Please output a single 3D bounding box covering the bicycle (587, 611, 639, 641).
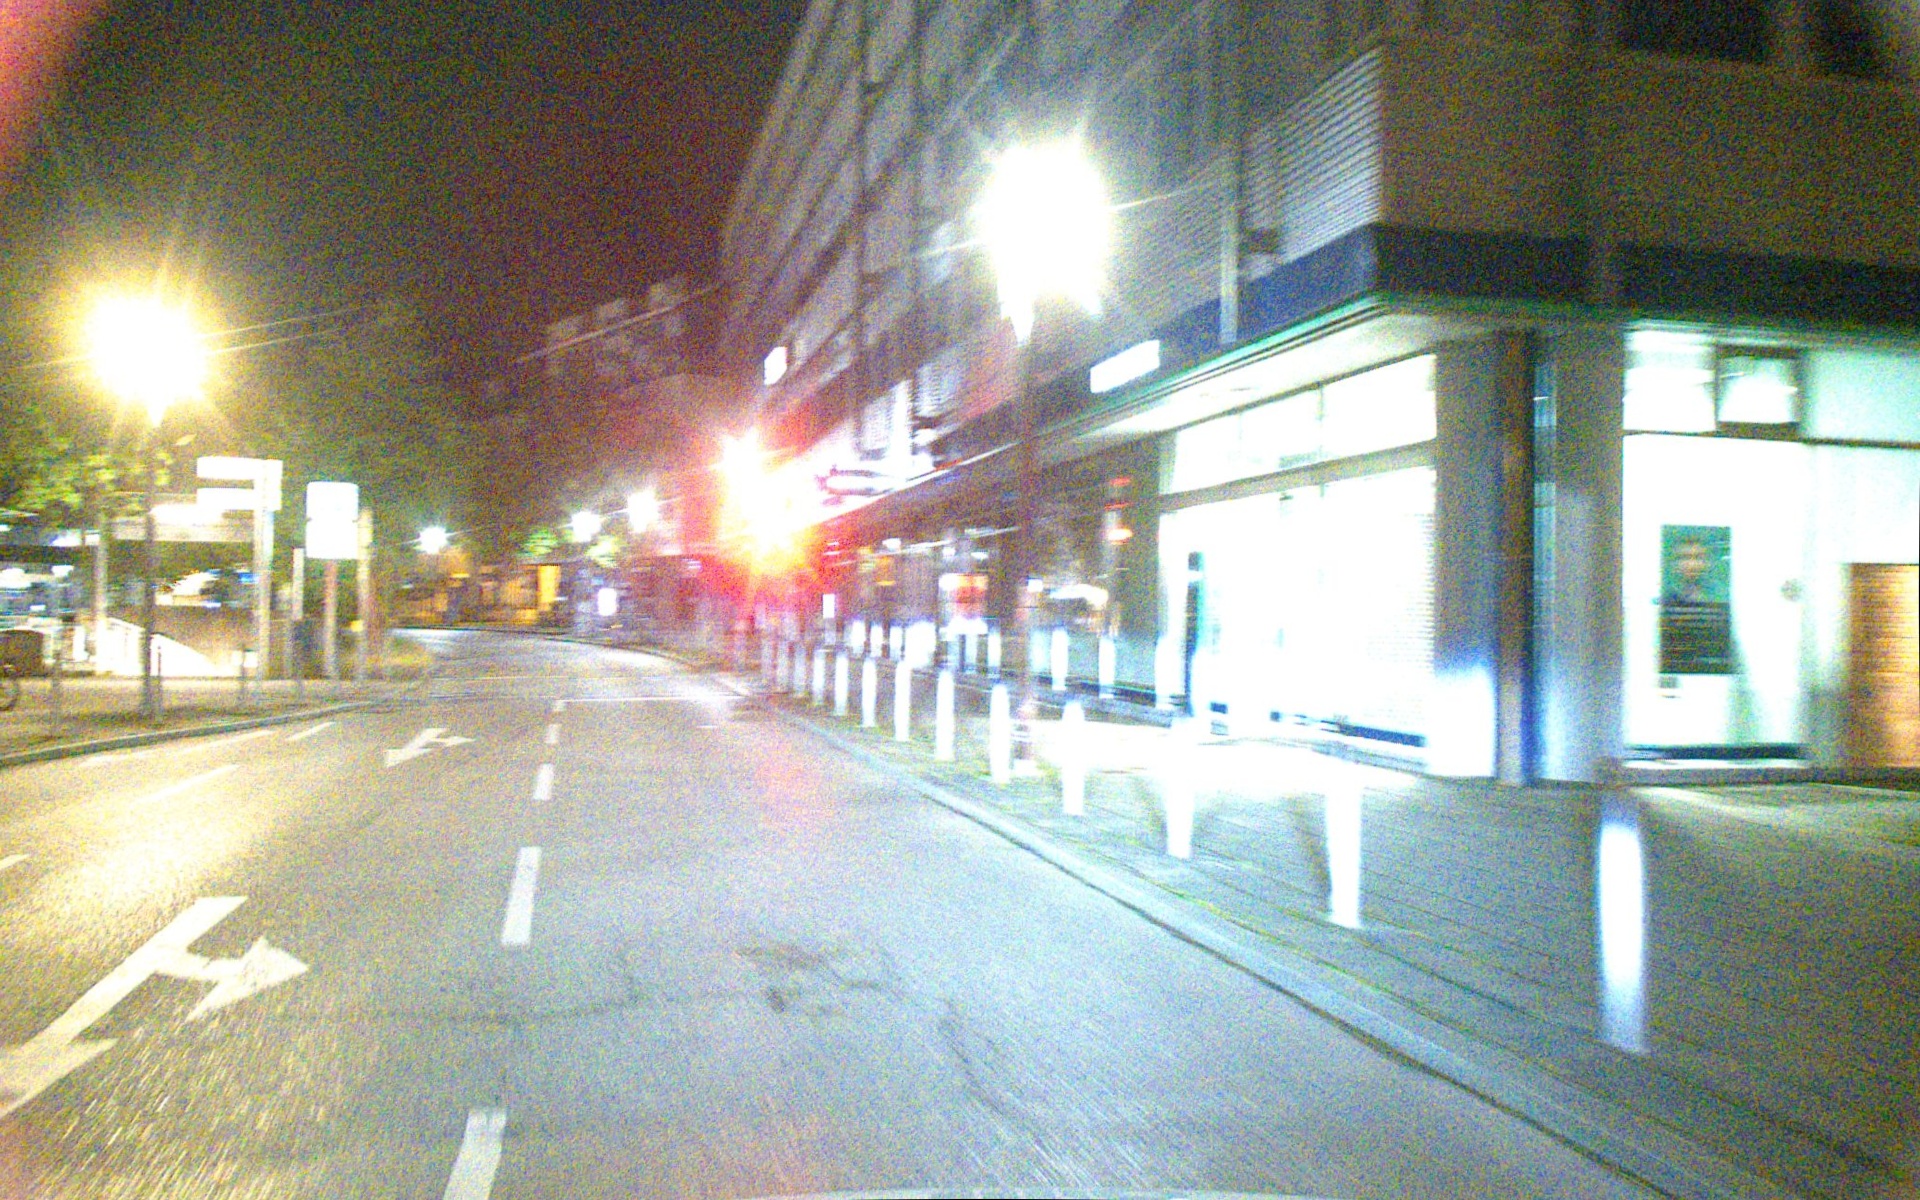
[{"bbox_3d":[-12.492,0.933,59.575,1.736,1.081,0.647,0,0,-38],"label":"bicycle"}]

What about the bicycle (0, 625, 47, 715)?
[{"bbox_3d":[-12.545,0.884,20.926,1.588,1.125,0.668,0,-2,-13],"label":"bicycle"}]

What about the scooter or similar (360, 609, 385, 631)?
[{"bbox_3d":[-34.842,1.165,98.016,1.238,1.249,0.590,2,-1,-40],"label":"scooter or similar"}]
